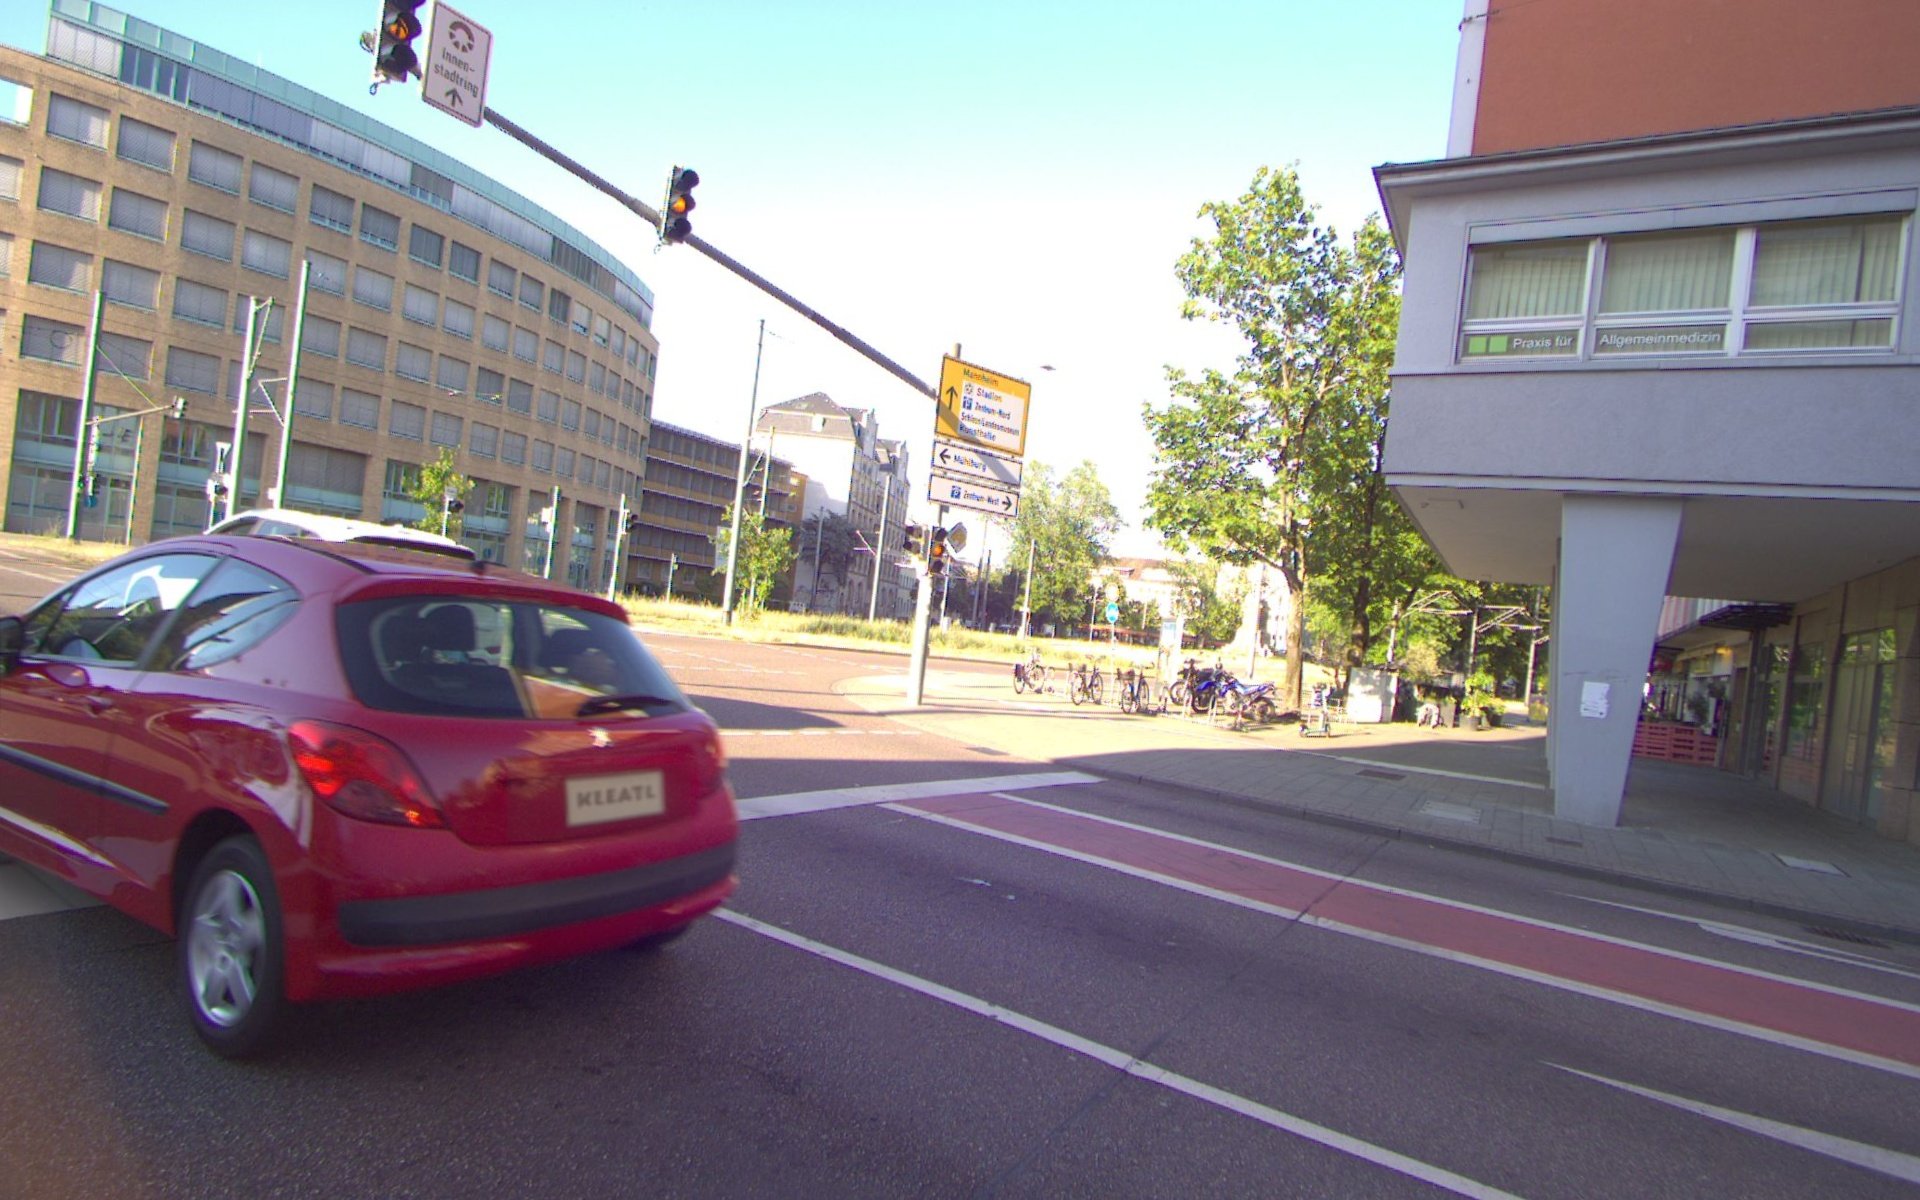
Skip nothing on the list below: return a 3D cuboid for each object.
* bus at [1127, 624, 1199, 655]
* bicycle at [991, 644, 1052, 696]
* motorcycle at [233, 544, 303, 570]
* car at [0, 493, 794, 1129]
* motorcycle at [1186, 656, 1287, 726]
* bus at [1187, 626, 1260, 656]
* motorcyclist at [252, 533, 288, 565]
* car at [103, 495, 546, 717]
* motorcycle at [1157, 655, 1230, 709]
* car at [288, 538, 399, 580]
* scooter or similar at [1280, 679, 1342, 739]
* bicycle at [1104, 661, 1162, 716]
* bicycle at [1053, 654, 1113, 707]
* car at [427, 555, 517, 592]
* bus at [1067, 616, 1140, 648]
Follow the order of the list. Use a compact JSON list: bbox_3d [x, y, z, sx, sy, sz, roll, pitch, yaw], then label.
[{"bbox_3d":[29.400,5.725,145.519,10.947,3.248,2.337,7,-1,-27],"label":"bus"},{"bbox_3d":[1.525,1.688,24.524,0.584,1.129,1.974,7,1,29],"label":"bicycle"},{"bbox_3d":[-35.298,-2.193,51.387,1.014,0.975,2.722,6,-1,30],"label":"motorcycle"},{"bbox_3d":[-2.821,0.467,4.224,3.934,1.479,1.673,6,-2,32],"label":"car"},{"bbox_3d":[6.891,2.247,25.060,2.224,1.409,0.845,7,-1,19],"label":"motorcycle"},{"bbox_3d":[39.218,6.095,149.796,10.922,3.248,2.343,7,-1,-20],"label":"bus"},{"bbox_3d":[-35.248,-2.586,51.399,1.014,1.453,1.067,6,0,31],"label":"motorcyclist"},{"bbox_3d":[-6.335,0.026,9.928,4.199,1.626,1.920,6,-2,32],"label":"car"},{"bbox_3d":[6.485,2.271,27.861,2.044,1.324,0.880,7,-1,-44],"label":"motorcycle"},{"bbox_3d":[-30.458,-2.000,49.809,1.961,1.509,4.171,6,-1,29],"label":"car"},{"bbox_3d":[7.882,2.451,22.593,1.549,1.251,0.479,6,1,-40],"label":"scooter or similar"},{"bbox_3d":[3.986,2.000,23.081,0.583,1.129,2.058,7,1,28],"label":"bicycle"},{"bbox_3d":[2.915,1.864,23.700,0.584,1.129,2.003,7,1,29],"label":"bicycle"},{"bbox_3d":[-27.004,-1.448,55.775,1.790,1.509,4.058,6,-1,30],"label":"car"},{"bbox_3d":[20.053,4.498,140.010,11.005,3.248,2.391,7,-1,-32],"label":"bus"}]
